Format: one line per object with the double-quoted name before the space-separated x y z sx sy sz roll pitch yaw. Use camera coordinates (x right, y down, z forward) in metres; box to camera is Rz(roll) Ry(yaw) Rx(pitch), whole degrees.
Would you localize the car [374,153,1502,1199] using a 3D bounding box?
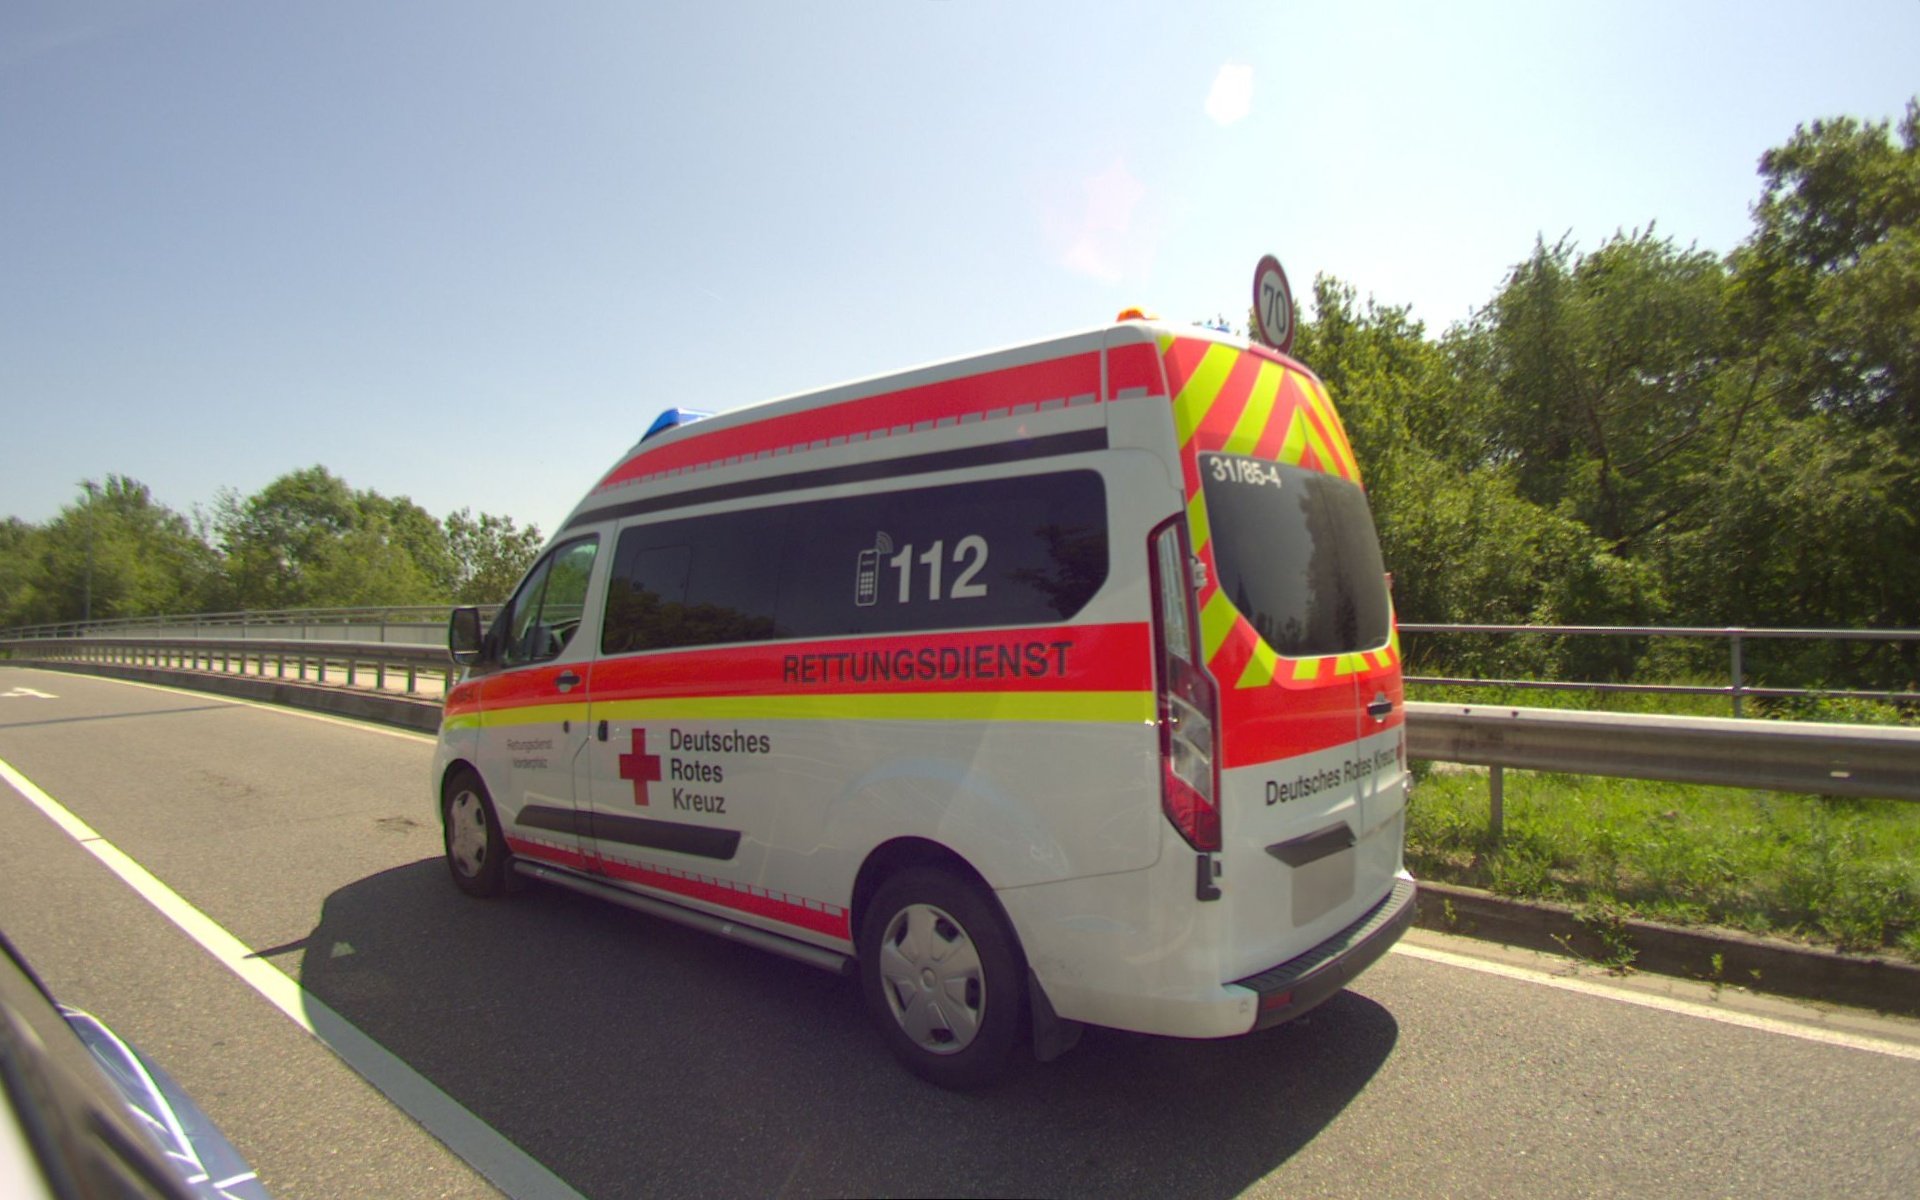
"car" -0.645 0.264 4.630 5.179 2.386 1.969 -1 0 41
